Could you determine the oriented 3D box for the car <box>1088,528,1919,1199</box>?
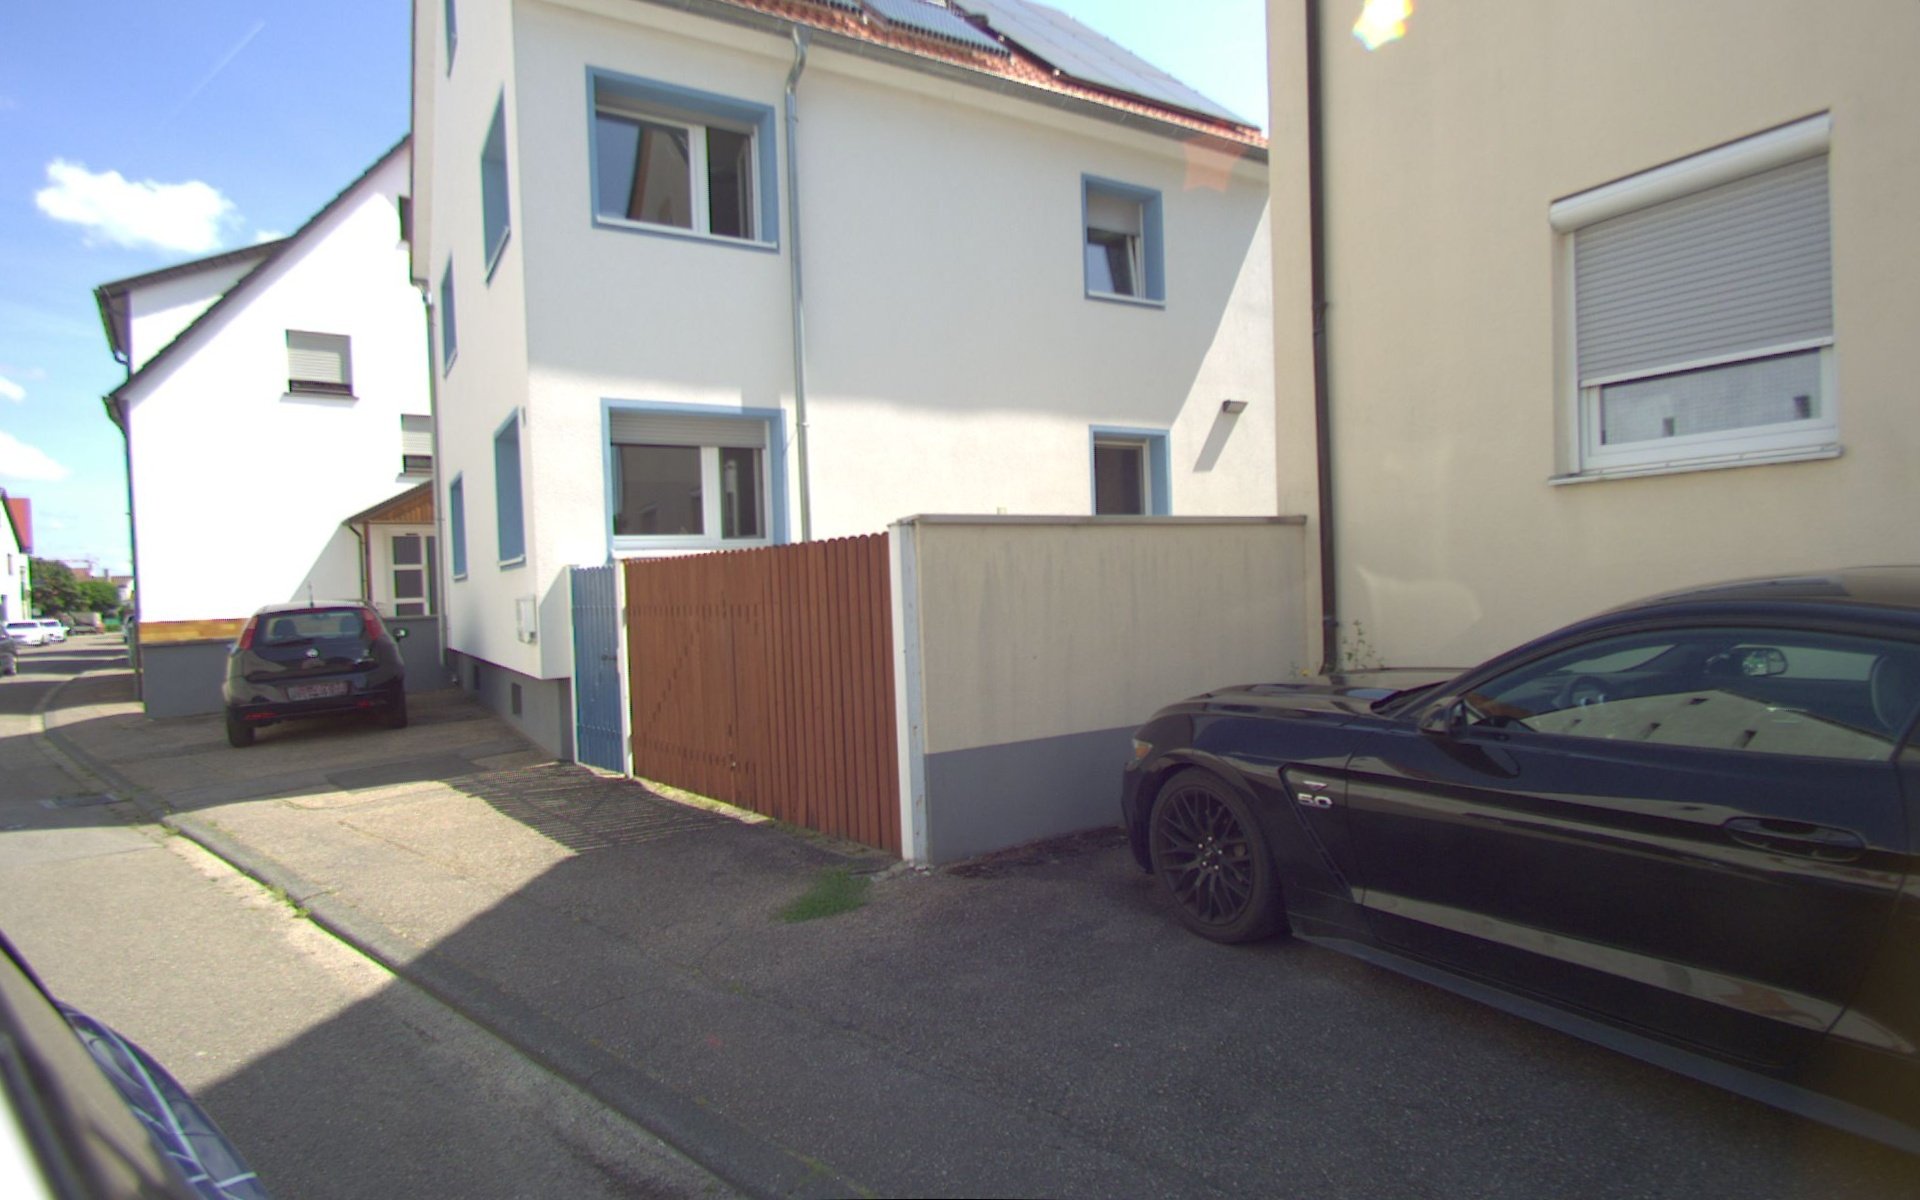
[{"bbox_3d":[2.434,0.501,2.866,1.745,1.359,4.484,-4,2,-29],"label":"car"}]

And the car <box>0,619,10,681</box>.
[{"bbox_3d":[-25.112,1.302,25.180,1.758,1.547,4.718,-2,1,-39],"label":"car"}]

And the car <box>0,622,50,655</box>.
[{"bbox_3d":[-50.041,2.044,54.024,1.758,1.511,4.048,-6,3,-37],"label":"car"}]

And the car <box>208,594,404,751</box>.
[{"bbox_3d":[-7.652,0.739,12.031,1.615,1.466,3.798,-4,1,-31],"label":"car"}]

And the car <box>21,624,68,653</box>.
[{"bbox_3d":[-57.715,2.404,63.873,1.758,1.511,4.048,-6,3,-37],"label":"car"}]

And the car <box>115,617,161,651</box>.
[{"bbox_3d":[-45.702,1.865,56.333,1.758,1.621,4.009,-6,3,-37],"label":"car"}]
